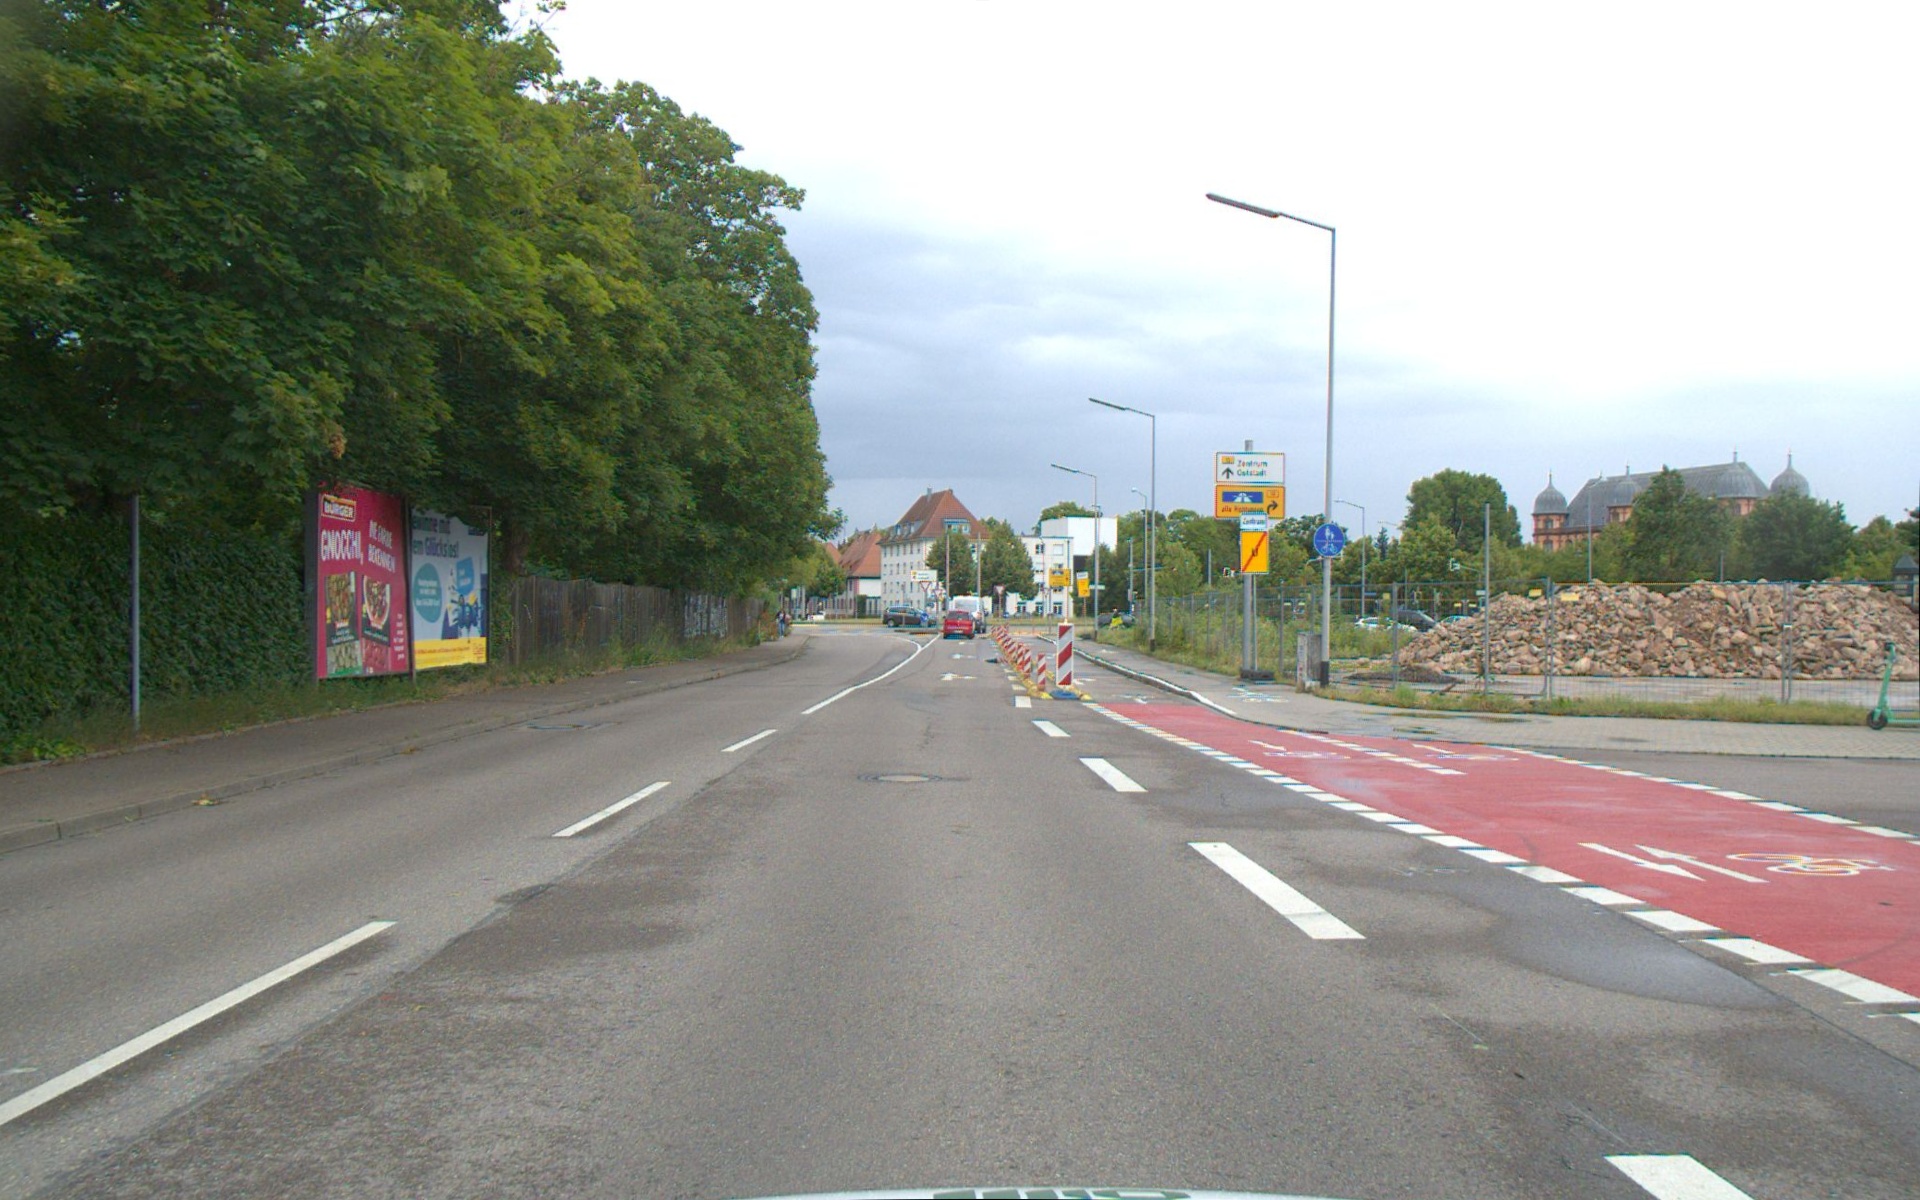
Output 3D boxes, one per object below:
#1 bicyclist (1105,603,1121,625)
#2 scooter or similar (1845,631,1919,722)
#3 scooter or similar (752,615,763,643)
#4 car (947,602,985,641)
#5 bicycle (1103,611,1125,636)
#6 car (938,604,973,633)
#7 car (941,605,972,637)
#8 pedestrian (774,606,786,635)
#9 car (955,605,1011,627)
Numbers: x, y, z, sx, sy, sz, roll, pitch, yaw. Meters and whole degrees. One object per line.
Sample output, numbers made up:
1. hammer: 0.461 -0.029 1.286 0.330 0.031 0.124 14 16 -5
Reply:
1. bicyclist: 10.385 0.948 112.056 1.039 1.426 0.615 0 -1 3
2. scooter or similar: 12.825 1.034 22.534 1.302 1.206 0.443 0 -1 41
3. scooter or similar: -8.583 1.224 70.019 0.414 1.191 1.302 0 -1 -5
4. car: 0.443 1.517 116.421 2.148 2.584 4.965 1 -1 6
5. bicycle: 10.399 1.573 112.051 1.446 1.640 0.606 1 -1 3
6. car: -0.231 1.105 99.626 2.017 1.677 4.607 2 -1 1
7. car: -0.180 1.172 92.890 1.639 1.669 3.627 2 -1 1
8. pedestrian: -9.611 1.104 88.227 0.600 1.556 0.723 0 -1 -4
9. car: 1.893 1.355 138.762 4.528 1.827 2.102 0 -1 43
